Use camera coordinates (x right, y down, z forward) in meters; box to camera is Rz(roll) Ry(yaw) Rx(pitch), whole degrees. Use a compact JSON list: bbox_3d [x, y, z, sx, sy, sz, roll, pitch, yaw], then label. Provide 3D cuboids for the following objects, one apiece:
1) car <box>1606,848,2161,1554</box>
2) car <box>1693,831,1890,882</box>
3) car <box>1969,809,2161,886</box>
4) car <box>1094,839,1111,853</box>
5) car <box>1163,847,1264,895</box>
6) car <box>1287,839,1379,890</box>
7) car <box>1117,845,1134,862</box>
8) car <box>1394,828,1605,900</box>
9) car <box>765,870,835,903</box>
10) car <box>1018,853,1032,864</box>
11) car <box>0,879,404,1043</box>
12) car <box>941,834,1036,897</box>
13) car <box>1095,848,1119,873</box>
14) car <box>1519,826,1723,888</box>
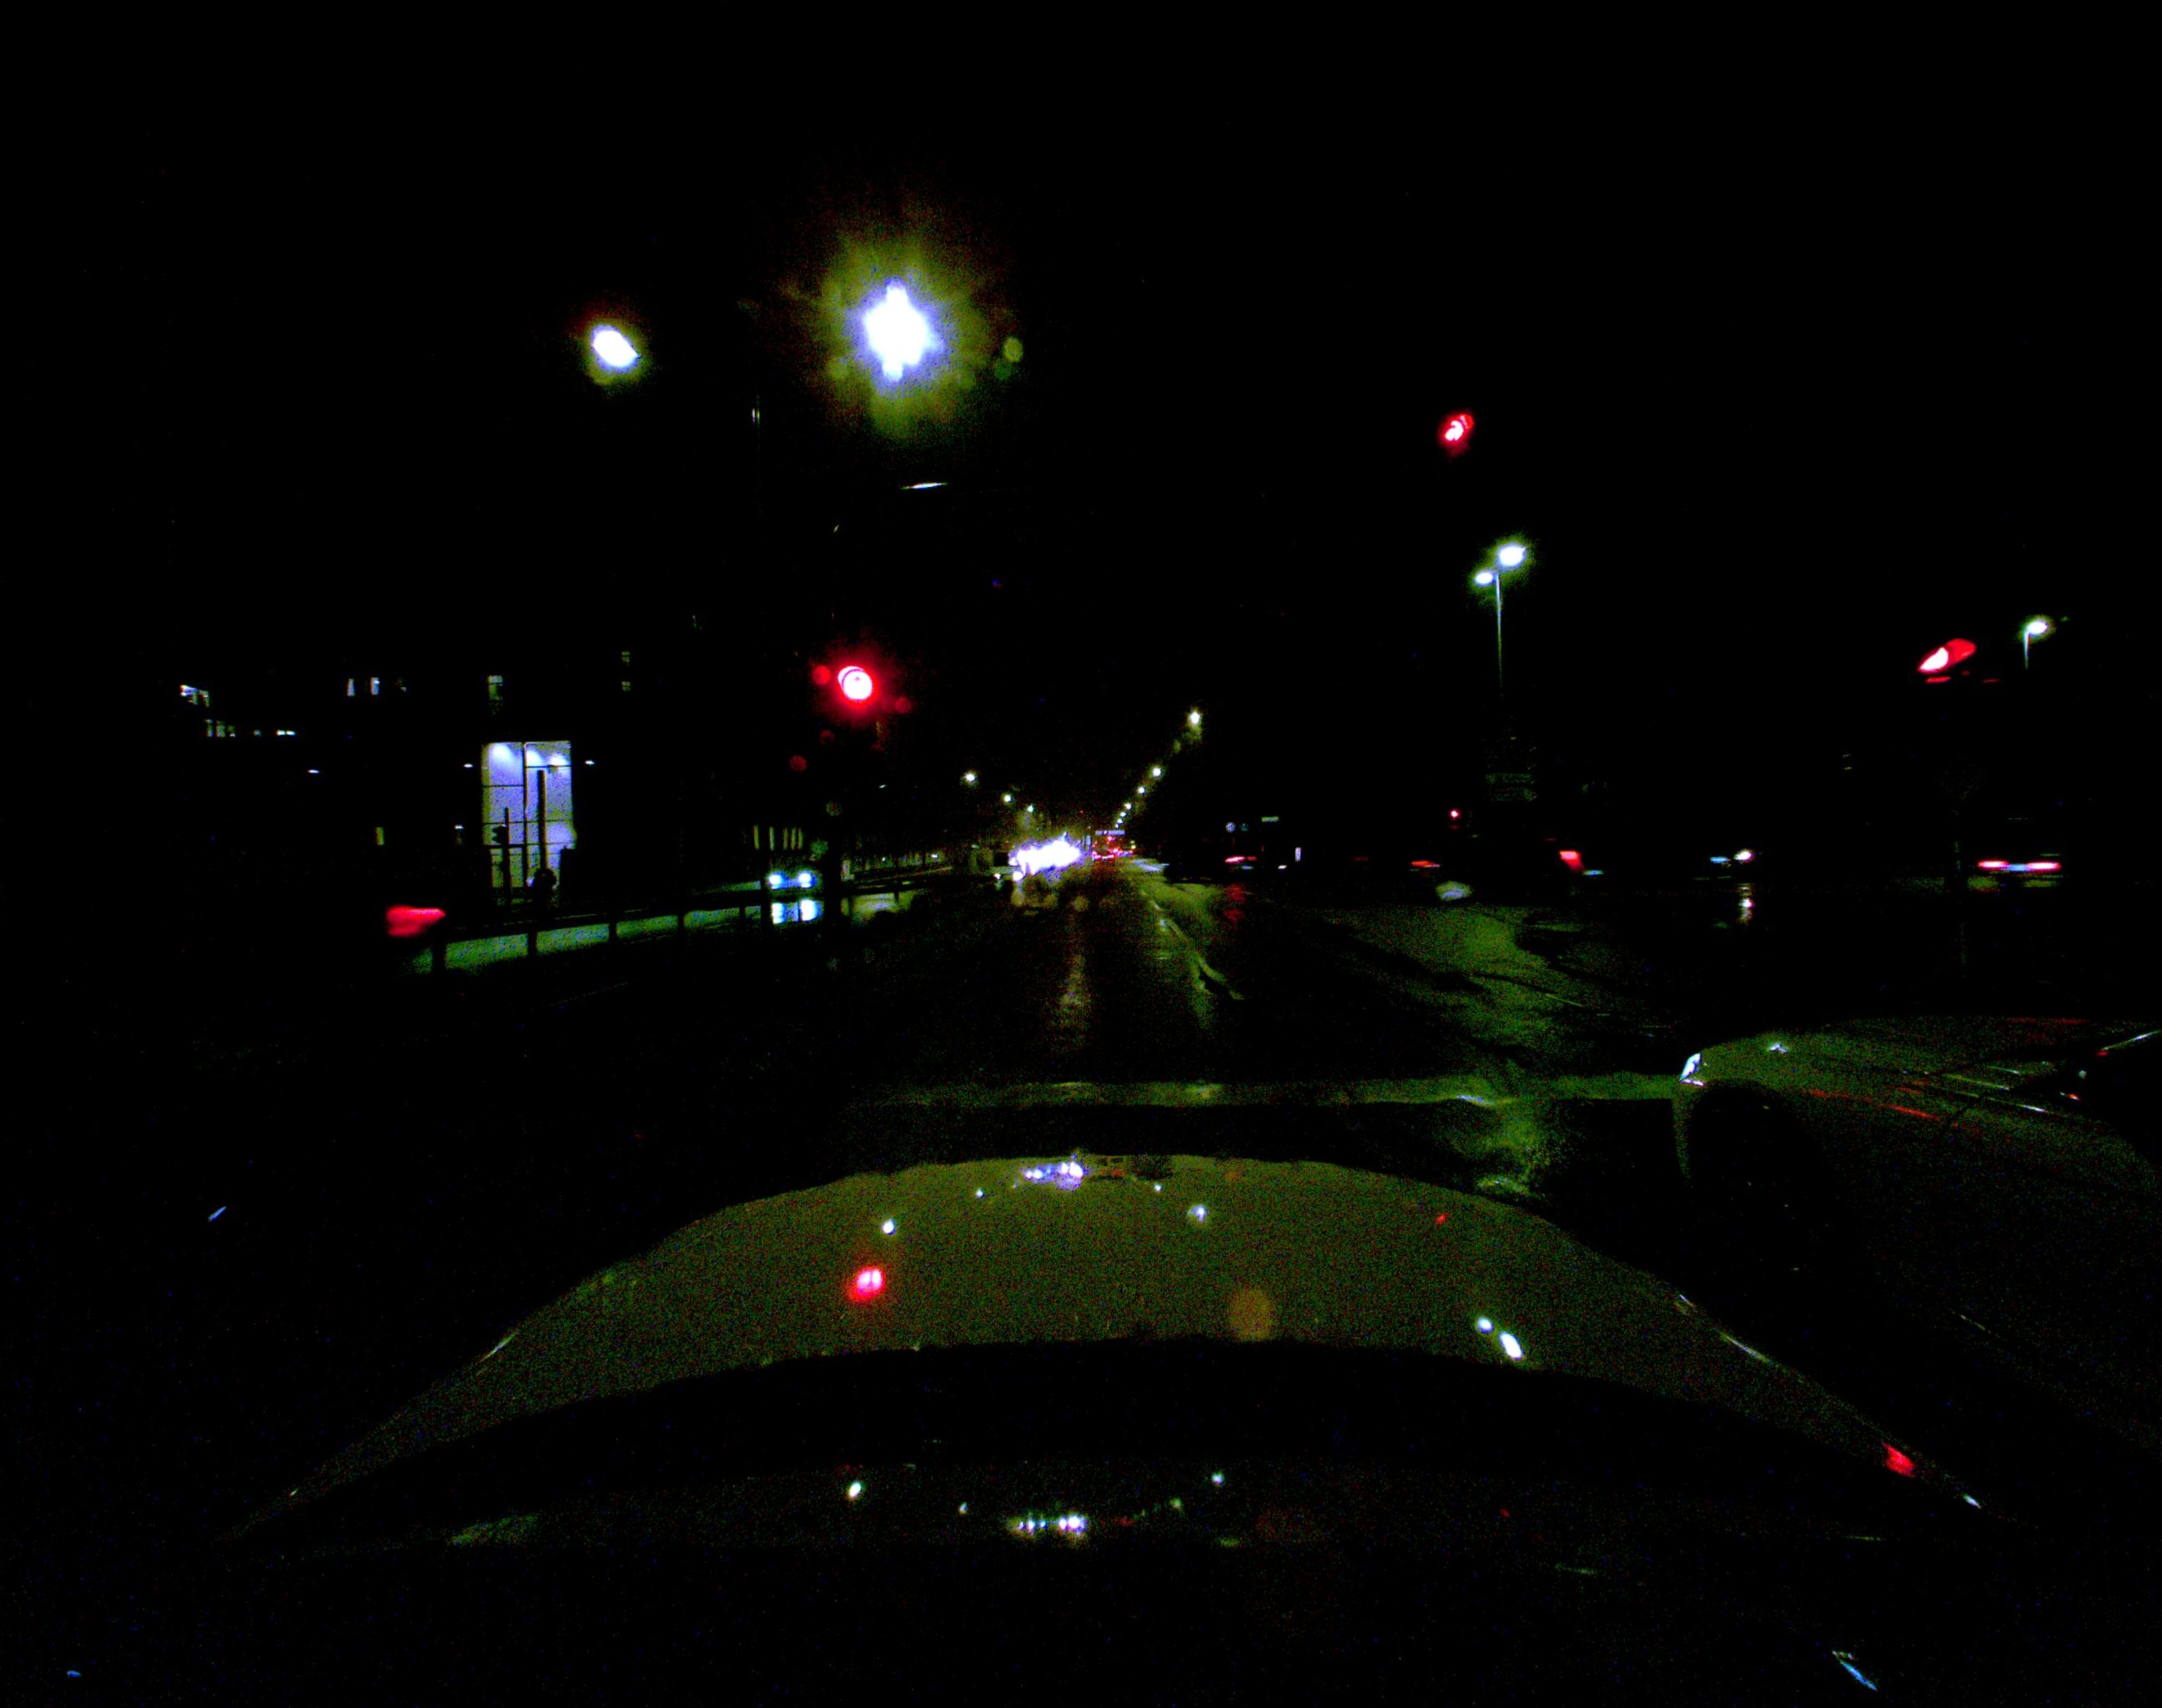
[{"bbox_3d":[3.124,0.727,1.309,1.714,1.446,4.383,-3,-1,1],"label":"car"},{"bbox_3d":[24.123,0.102,27.815,4.823,1.590,1.857,-1,-1,8],"label":"car"},{"bbox_3d":[24.311,-0.159,19.654,3.736,1.734,1.724,-1,-1,3],"label":"car"},{"bbox_3d":[3.444,-1.235,128.678,2.434,2.194,5.076,-1,-1,-1],"label":"car"},{"bbox_3d":[5.860,0.735,36.302,3.949,2.014,2.012,-2,-1,41],"label":"car"},{"bbox_3d":[11.526,0.479,37.241,3.596,2.215,2.229,-1,-1,29],"label":"car"},{"bbox_3d":[5.484,0.002,100.990,2.029,2.014,4.311,-1,-1,3],"label":"car"},{"bbox_3d":[10.458,0.270,20.686,4.375,1.672,1.964,-1,-1,10],"label":"car"},{"bbox_3d":[-13.344,1.511,38.882,1.817,1.464,4.001,-1,-1,2],"label":"car"},{"bbox_3d":[-9.161,0.804,134.239,1.743,1.709,4.501,-3,-1,2],"label":"car"},{"bbox_3d":[-10.452,1.107,9.783,1.694,1.516,3.565,-1,-1,-1],"label":"car"},{"bbox_3d":[-3.226,0.390,27.890,1.711,2.014,3.528,0,-1,-36],"label":"car"},{"bbox_3d":[2.282,0.535,71.158,2.030,2.082,4.309,-1,-1,2],"label":"car"},{"bbox_3d":[15.281,0.102,23.278,4.474,1.618,1.912,-1,-1,7],"label":"car"}]
